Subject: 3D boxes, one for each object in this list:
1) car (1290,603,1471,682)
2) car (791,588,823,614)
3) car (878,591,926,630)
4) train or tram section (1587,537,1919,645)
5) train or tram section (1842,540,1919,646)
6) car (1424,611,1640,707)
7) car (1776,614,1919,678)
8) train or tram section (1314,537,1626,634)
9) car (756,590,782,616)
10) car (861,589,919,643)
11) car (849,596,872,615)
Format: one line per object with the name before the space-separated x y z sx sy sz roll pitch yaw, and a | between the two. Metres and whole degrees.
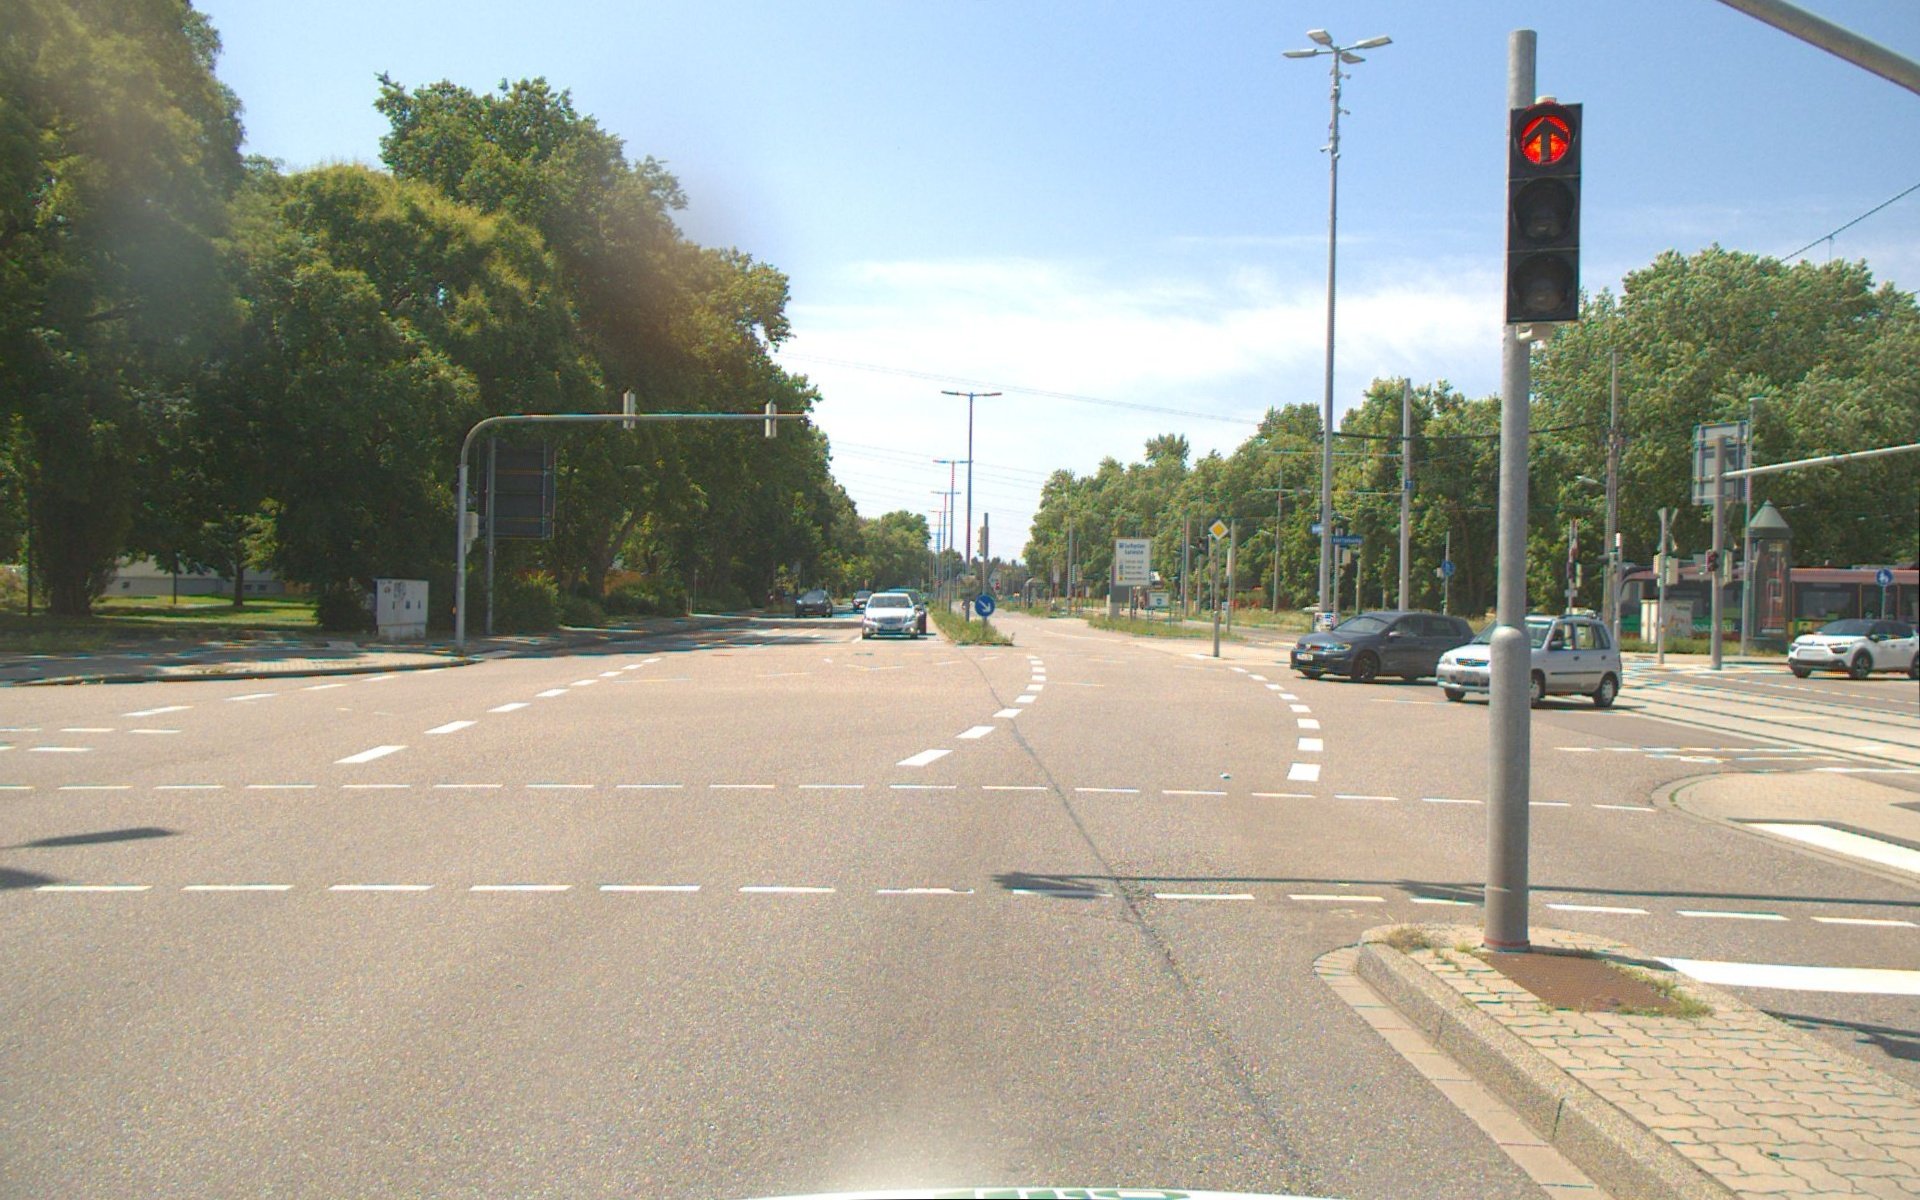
car | 8.461 0.840 33.204 3.465 1.488 1.622 1 0 -33
car | -9.284 0.075 100.602 1.637 1.516 3.710 1 0 -1
car | -2.144 0.367 61.476 1.676 1.389 3.864 1 0 -1
train or tram section | 33.036 -0.358 68.149 13.127 3.878 2.925 2 -3 8
train or tram section | 43.399 0.010 68.842 13.773 3.988 2.910 3 -3 -17
car | 9.726 0.962 28.019 3.764 1.488 1.619 1 0 -36
car | 22.516 1.145 41.285 4.429 1.488 1.625 1 0 -29
train or tram section | 22.191 -0.597 72.721 12.811 3.878 2.912 0 -3 36
car | -16.662 0.259 144.479 1.955 2.048 3.996 4 -1 -4
car | -2.251 0.497 54.166 1.748 1.657 3.864 1 0 -1
car | -8.175 0.460 136.112 1.637 1.516 3.710 1 0 -1
